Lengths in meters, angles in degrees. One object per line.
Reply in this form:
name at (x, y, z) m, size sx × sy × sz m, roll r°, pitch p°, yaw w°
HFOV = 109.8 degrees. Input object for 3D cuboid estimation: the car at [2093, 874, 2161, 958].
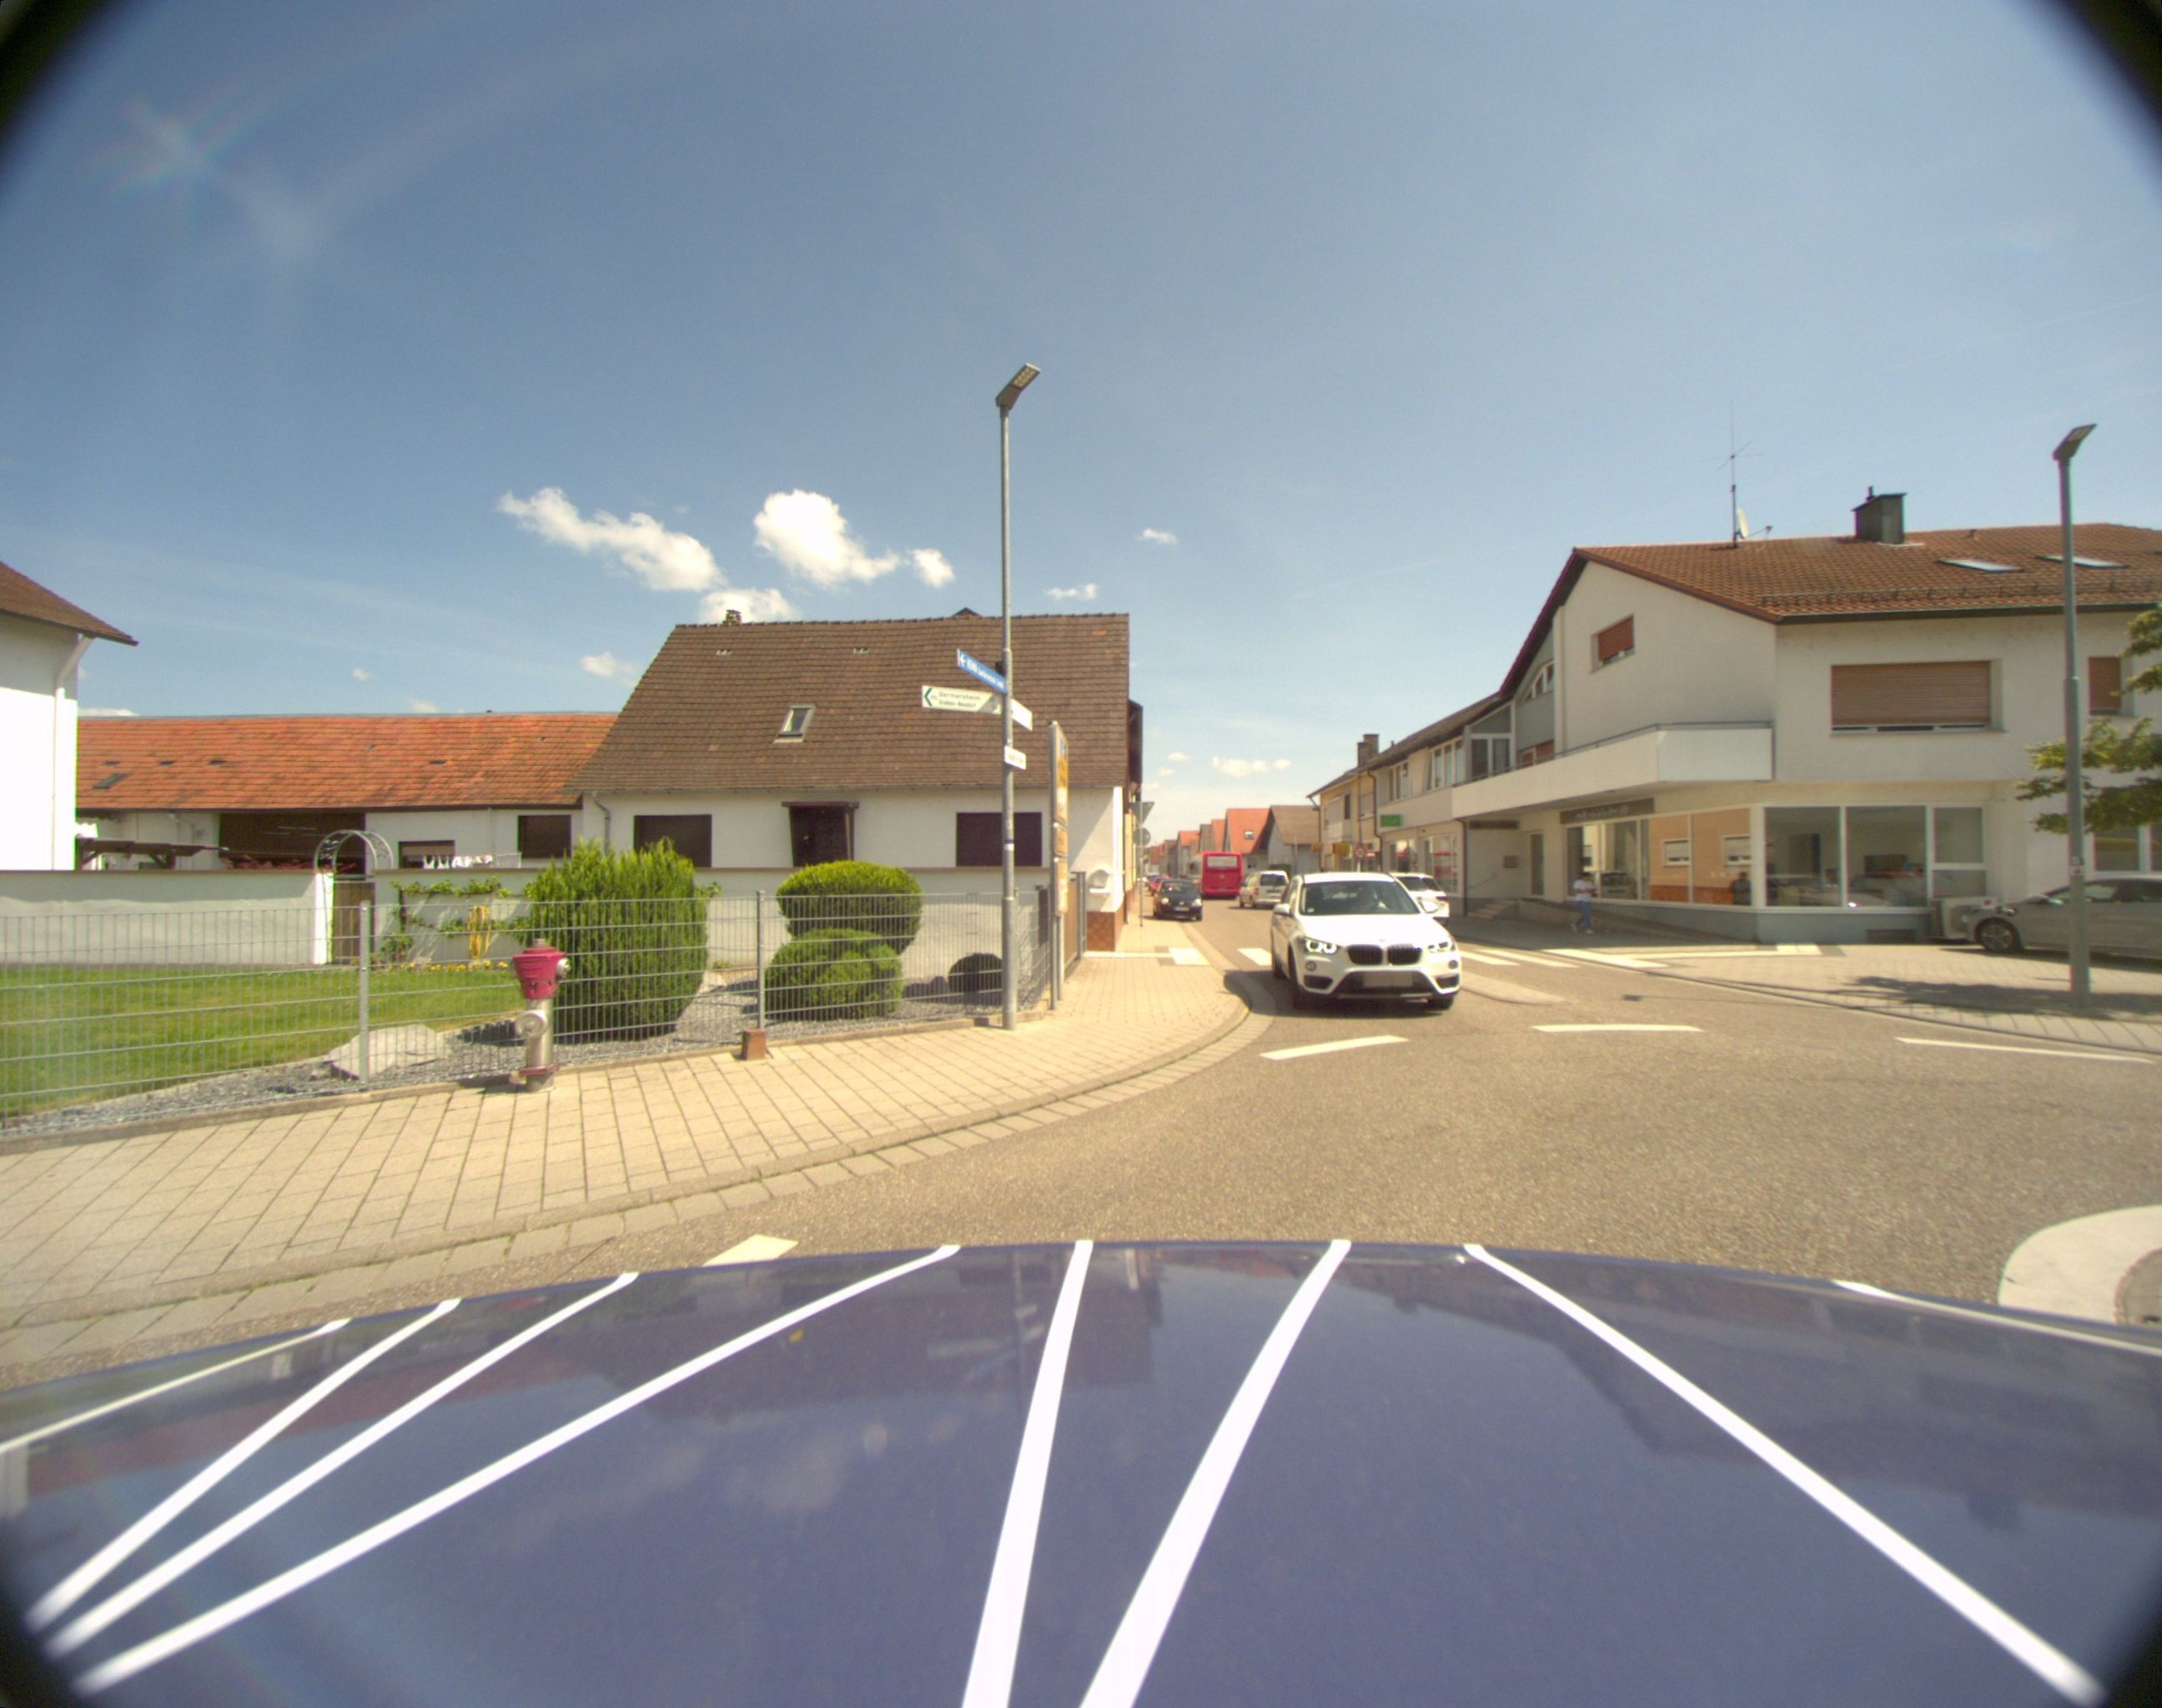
car at (20.061, 1.090, 12.458) m, size 1.751 × 1.468 × 3.965 m, roll -1°, pitch -1°, yaw 4°

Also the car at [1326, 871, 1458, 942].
car at (8.287, 1.327, 20.720) m, size 1.870 × 1.699 × 4.544 m, roll 1°, pitch -1°, yaw 2°

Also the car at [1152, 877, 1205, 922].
car at (3.508, 1.618, 27.961) m, size 1.689 × 1.454 × 3.631 m, roll 2°, pitch -1°, yaw 4°

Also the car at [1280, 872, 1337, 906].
car at (11.390, 1.715, 38.285) m, size 1.748 × 1.507 × 4.001 m, roll -4°, pitch -1°, yaw 3°

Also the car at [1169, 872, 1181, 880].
car at (16.531, 3.921, 133.271) m, size 1.764 × 1.419 × 3.854 m, roll 0°, pitch -2°, yaw 1°

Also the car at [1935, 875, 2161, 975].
car at (17.408, 1.115, 12.510) m, size 1.834 × 1.442 × 4.480 m, roll -1°, pitch -1°, yaw 4°

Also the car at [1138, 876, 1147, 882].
car at (13.182, 5.344, 163.607) m, size 1.764 × 1.419 × 3.854 m, roll 0°, pitch -2°, yaw 1°

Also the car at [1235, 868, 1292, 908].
car at (8.730, 1.586, 36.750) m, size 1.776 × 1.810 × 4.443 m, roll 1°, pitch -1°, yaw 1°

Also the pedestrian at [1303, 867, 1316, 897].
pedestrian at (14.061, 1.722, 46.746) m, size 0.578 × 1.779 × 0.693 m, roll -2°, pitch 0°, yaw 4°

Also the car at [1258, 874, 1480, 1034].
car at (3.525, 1.129, 10.204) m, size 1.843 × 1.635 × 4.378 m, roll -2°, pitch -2°, yaw 8°

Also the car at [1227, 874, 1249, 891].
car at (13.669, 2.443, 66.370) m, size 1.457 × 1.362 × 3.386 m, roll -3°, pitch -1°, yaw 5°

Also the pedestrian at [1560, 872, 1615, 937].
pedestrian at (12.935, 1.267, 19.441) m, size 0.757 × 1.574 × 0.957 m, roll -2°, pitch 0°, yaw 6°

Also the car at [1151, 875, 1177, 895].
car at (5.982, 2.239, 55.143) m, size 1.764 × 1.419 × 4.191 m, roll 0°, pitch -2°, yaw 4°

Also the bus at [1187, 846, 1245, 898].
bus at (9.209, 1.251, 53.170) m, size 2.632 × 3.212 × 12.029 m, roll 1°, pitch -1°, yaw 4°
